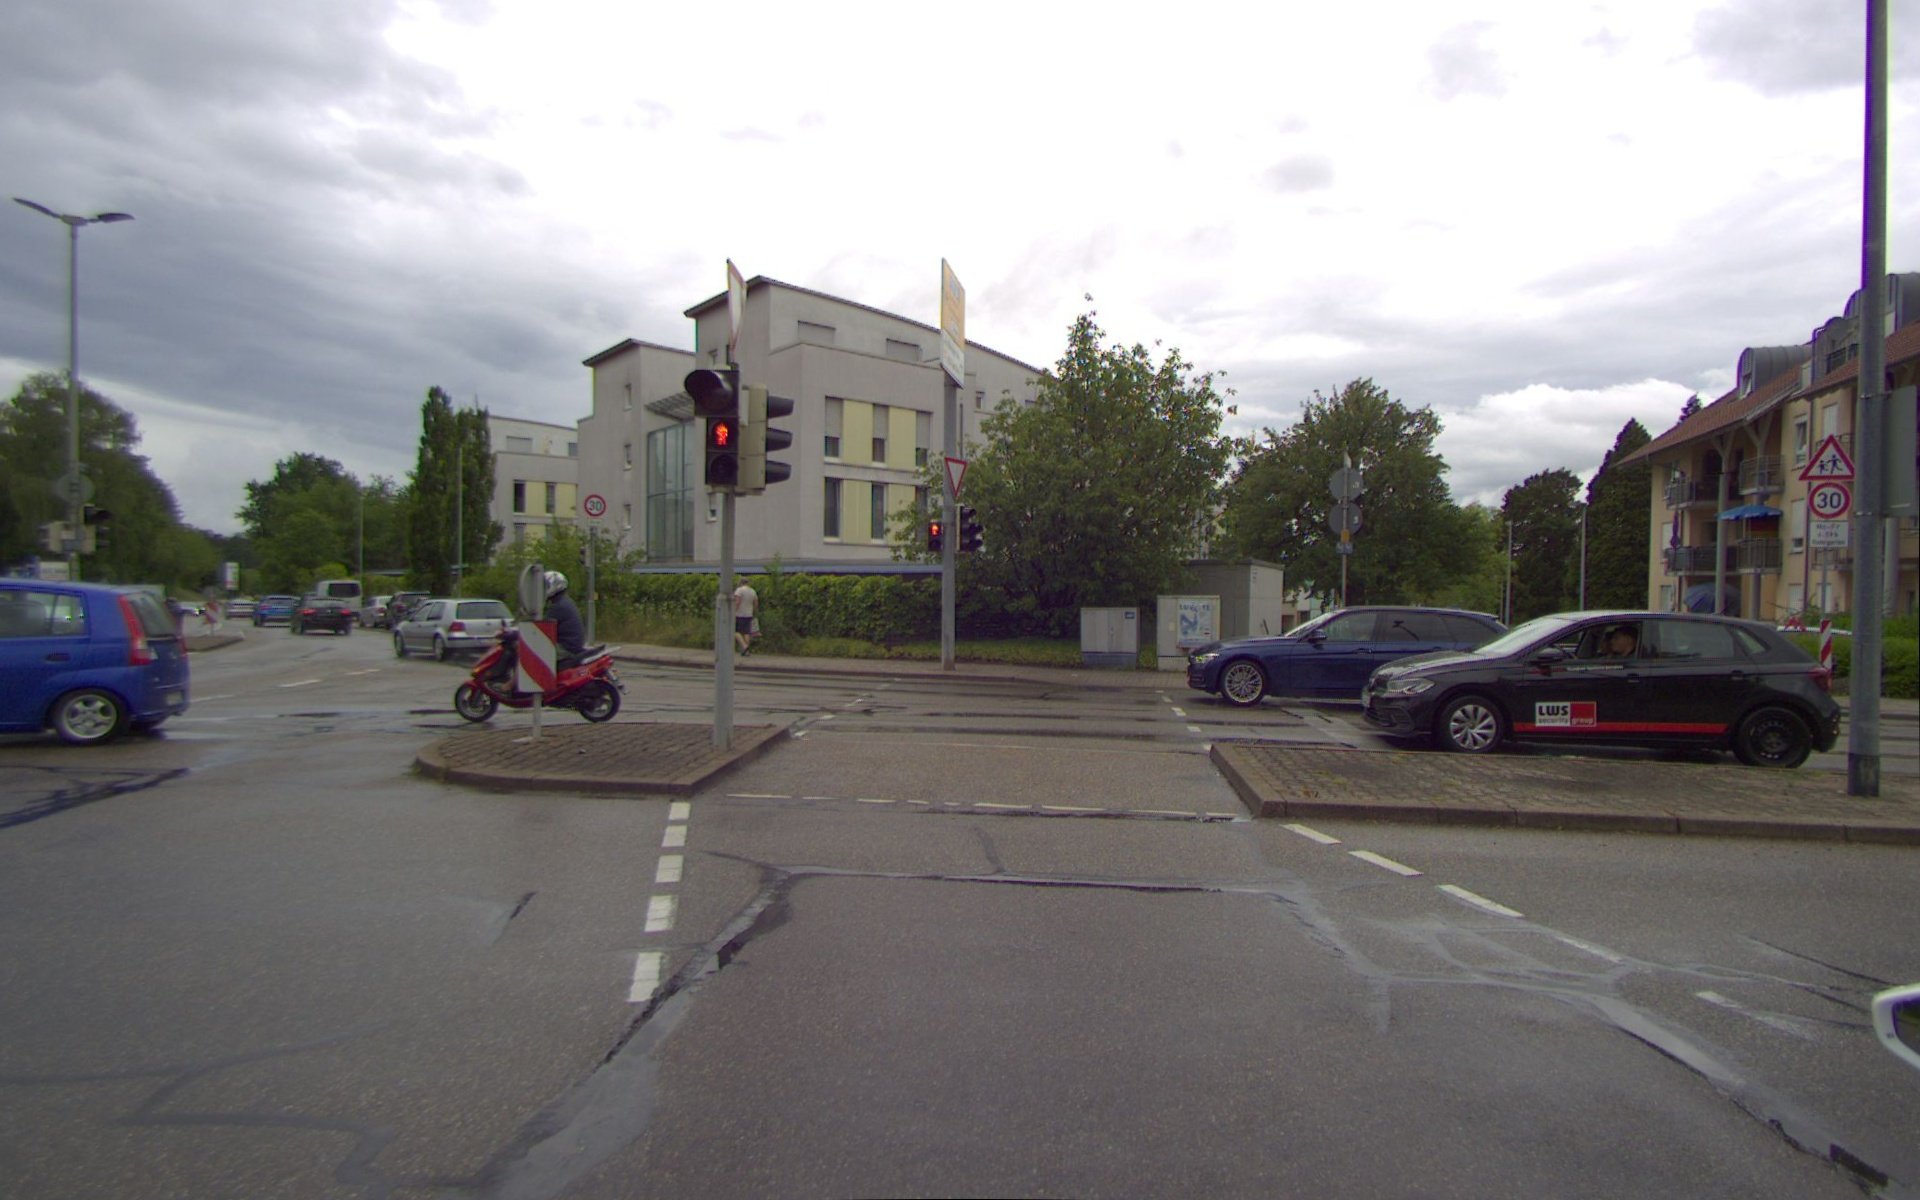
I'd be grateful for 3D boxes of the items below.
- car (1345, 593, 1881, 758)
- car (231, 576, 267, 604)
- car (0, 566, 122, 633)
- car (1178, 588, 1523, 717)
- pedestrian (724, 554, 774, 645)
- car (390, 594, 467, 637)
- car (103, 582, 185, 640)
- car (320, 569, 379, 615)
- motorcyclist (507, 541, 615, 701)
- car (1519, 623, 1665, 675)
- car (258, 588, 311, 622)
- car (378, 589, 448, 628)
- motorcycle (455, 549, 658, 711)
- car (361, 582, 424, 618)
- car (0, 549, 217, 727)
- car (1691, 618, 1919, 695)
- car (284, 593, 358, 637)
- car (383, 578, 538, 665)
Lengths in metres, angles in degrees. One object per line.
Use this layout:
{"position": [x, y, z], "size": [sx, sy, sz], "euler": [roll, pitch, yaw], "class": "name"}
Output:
{"position": [6.211, 0.670, 10.082], "size": [4.117, 1.427, 1.823], "euler": [0, 0, 11], "class": "car"}
{"position": [-50.366, -0.725, 71.221], "size": [1.980, 1.782, 3.961], "euler": [0, 3, -34], "class": "car"}
{"position": [-24.153, -0.040, 26.945], "size": [1.977, 1.662, 3.966], "euler": [1, 1, -31], "class": "car"}
{"position": [5.318, 0.706, 14.235], "size": [4.264, 1.454, 1.761], "euler": [3, -1, 11], "class": "car"}
{"position": [-4.854, -0.011, 23.068], "size": [0.844, 2.041, 0.791], "euler": [-1, 1, -45], "class": "pedestrian"}
{"position": [-20.946, 0.547, 39.531], "size": [1.982, 1.576, 3.956], "euler": [-1, 1, -38], "class": "car"}
{"position": [-27.539, 0.320, 34.004], "size": [1.982, 1.840, 3.957], "euler": [0, 1, -37], "class": "car"}
{"position": [-36.060, -0.435, 59.249], "size": [2.575, 2.445, 5.204], "euler": [0, -2, -36], "class": "car"}
{"position": [-4.296, 0.226, 10.877], "size": [0.923, 1.646, 0.771], "euler": [2, 0, -13], "class": "motorcyclist"}
{"position": [33.272, 2.536, 53.119], "size": [5.901, 2.230, 2.853], "euler": [3, 1, 19], "class": "car"}
{"position": [-33.399, 0.204, 49.723], "size": [1.978, 1.576, 3.965], "euler": [-1, 1, -32], "class": "car"}
{"position": [-23.704, 0.343, 43.455], "size": [1.983, 1.576, 3.956], "euler": [2, 0, -38], "class": "car"}
{"position": [-4.307, 0.333, 10.875], "size": [1.888, 1.646, 0.795], "euler": [2, 0, -13], "class": "motorcycle"}
{"position": [-26.573, -0.017, 46.981], "size": [1.982, 1.576, 3.956], "euler": [-1, 1, -38], "class": "car"}
{"position": [-8.786, 0.307, 8.775], "size": [3.393, 1.475, 1.515], "euler": [2, -1, -25], "class": "car"}
{"position": [18.361, 1.182, 21.467], "size": [4.123, 1.458, 1.821], "euler": [1, -1, 24], "class": "car"}
{"position": [-24.323, 0.574, 38.187], "size": [1.983, 1.572, 3.956], "euler": [0, -1, -38], "class": "car"}
{"position": [-11.867, 0.438, 23.767], "size": [3.942, 1.693, 1.989], "euler": [5, 4, 42], "class": "car"}
